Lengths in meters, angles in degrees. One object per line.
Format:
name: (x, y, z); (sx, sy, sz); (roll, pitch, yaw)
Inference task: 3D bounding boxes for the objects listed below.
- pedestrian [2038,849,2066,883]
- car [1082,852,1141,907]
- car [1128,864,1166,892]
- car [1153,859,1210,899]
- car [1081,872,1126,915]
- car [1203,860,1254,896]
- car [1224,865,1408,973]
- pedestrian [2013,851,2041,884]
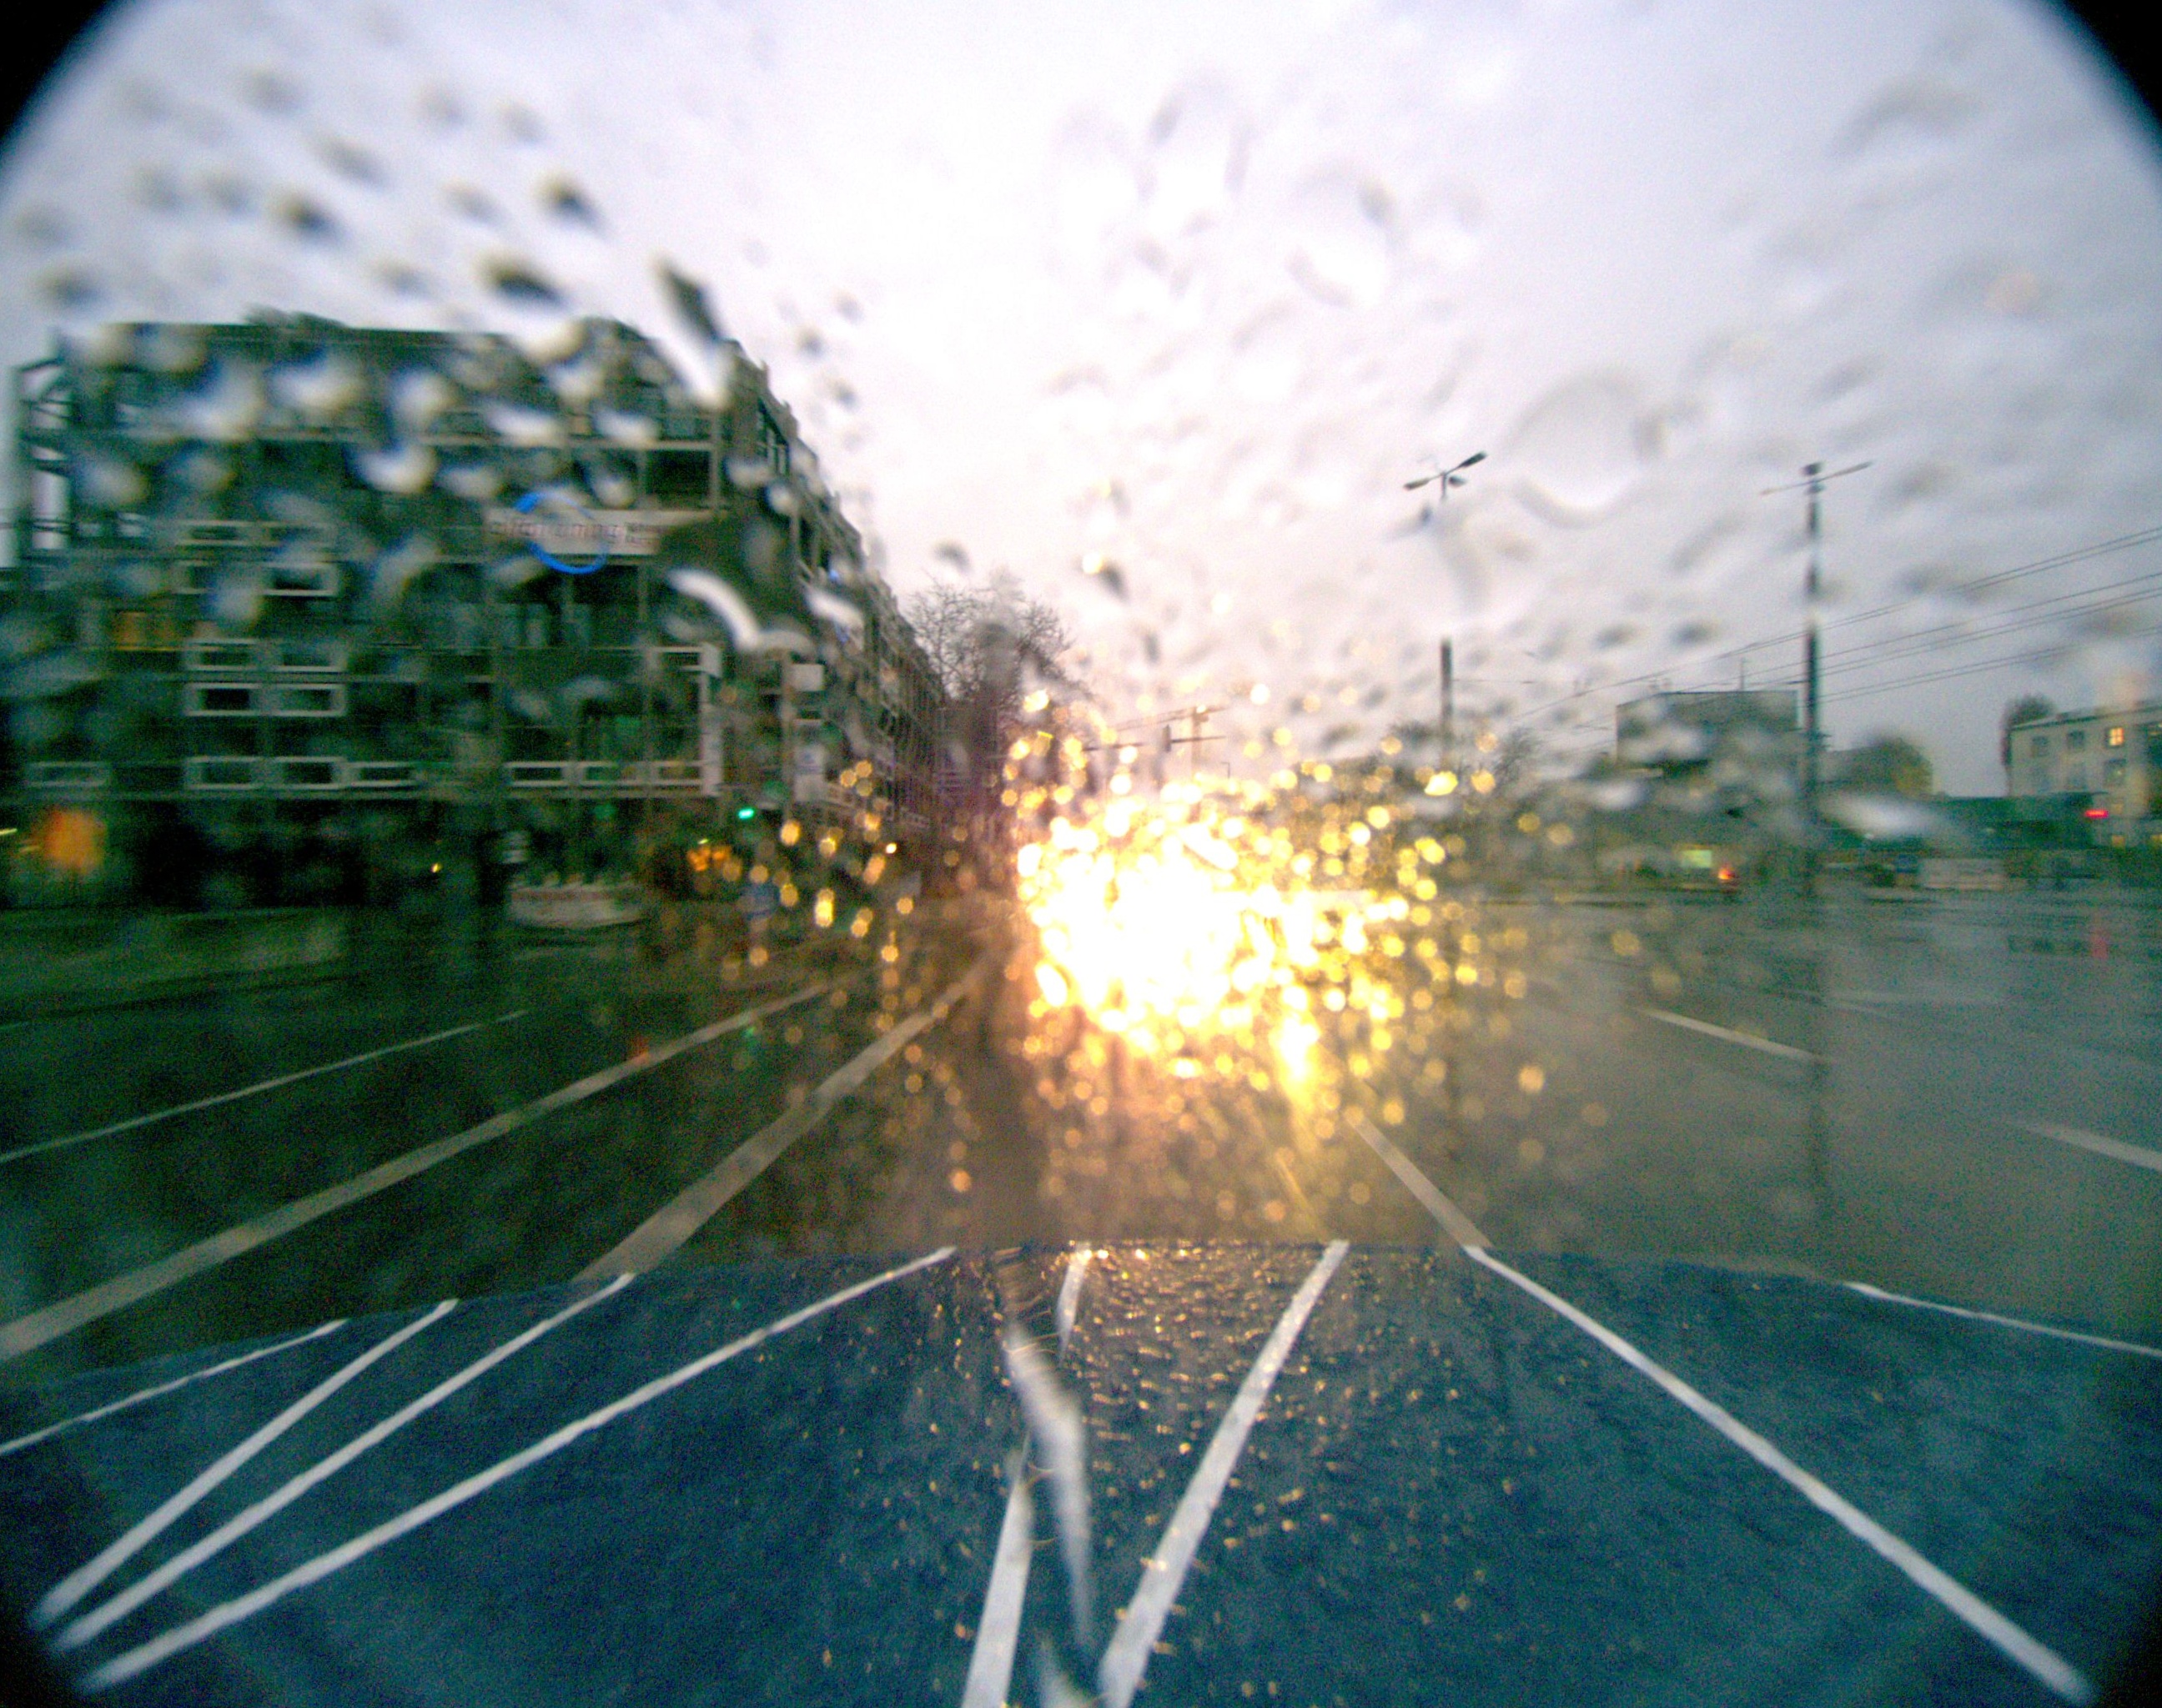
pedestrian: (47.788, 0.598, 37.408); (0.655, 1.651, 0.743); (-1, 0, 33)
car: (1.068, 0.891, 28.396); (1.865, 1.866, 3.999); (-2, 0, -2)
car: (4.186, 1.532, 48.768); (1.868, 1.652, 3.986); (-1, 0, -3)
car: (4.563, 1.111, 35.085); (1.999, 1.673, 4.000); (-2, 0, -1)
car: (1.123, 1.996, 39.787); (1.999, 2.002, 3.999); (-1, 0, -3)
car: (8.290, 1.324, 42.906); (1.953, 1.870, 4.000); (-2, -1, -1)
car: (3.708, 0.950, 12.799); (1.814, 1.464, 4.140); (-2, -1, 1)
pedestrian: (47.217, 0.670, 37.923); (0.655, 1.655, 0.743); (-1, 0, 33)
